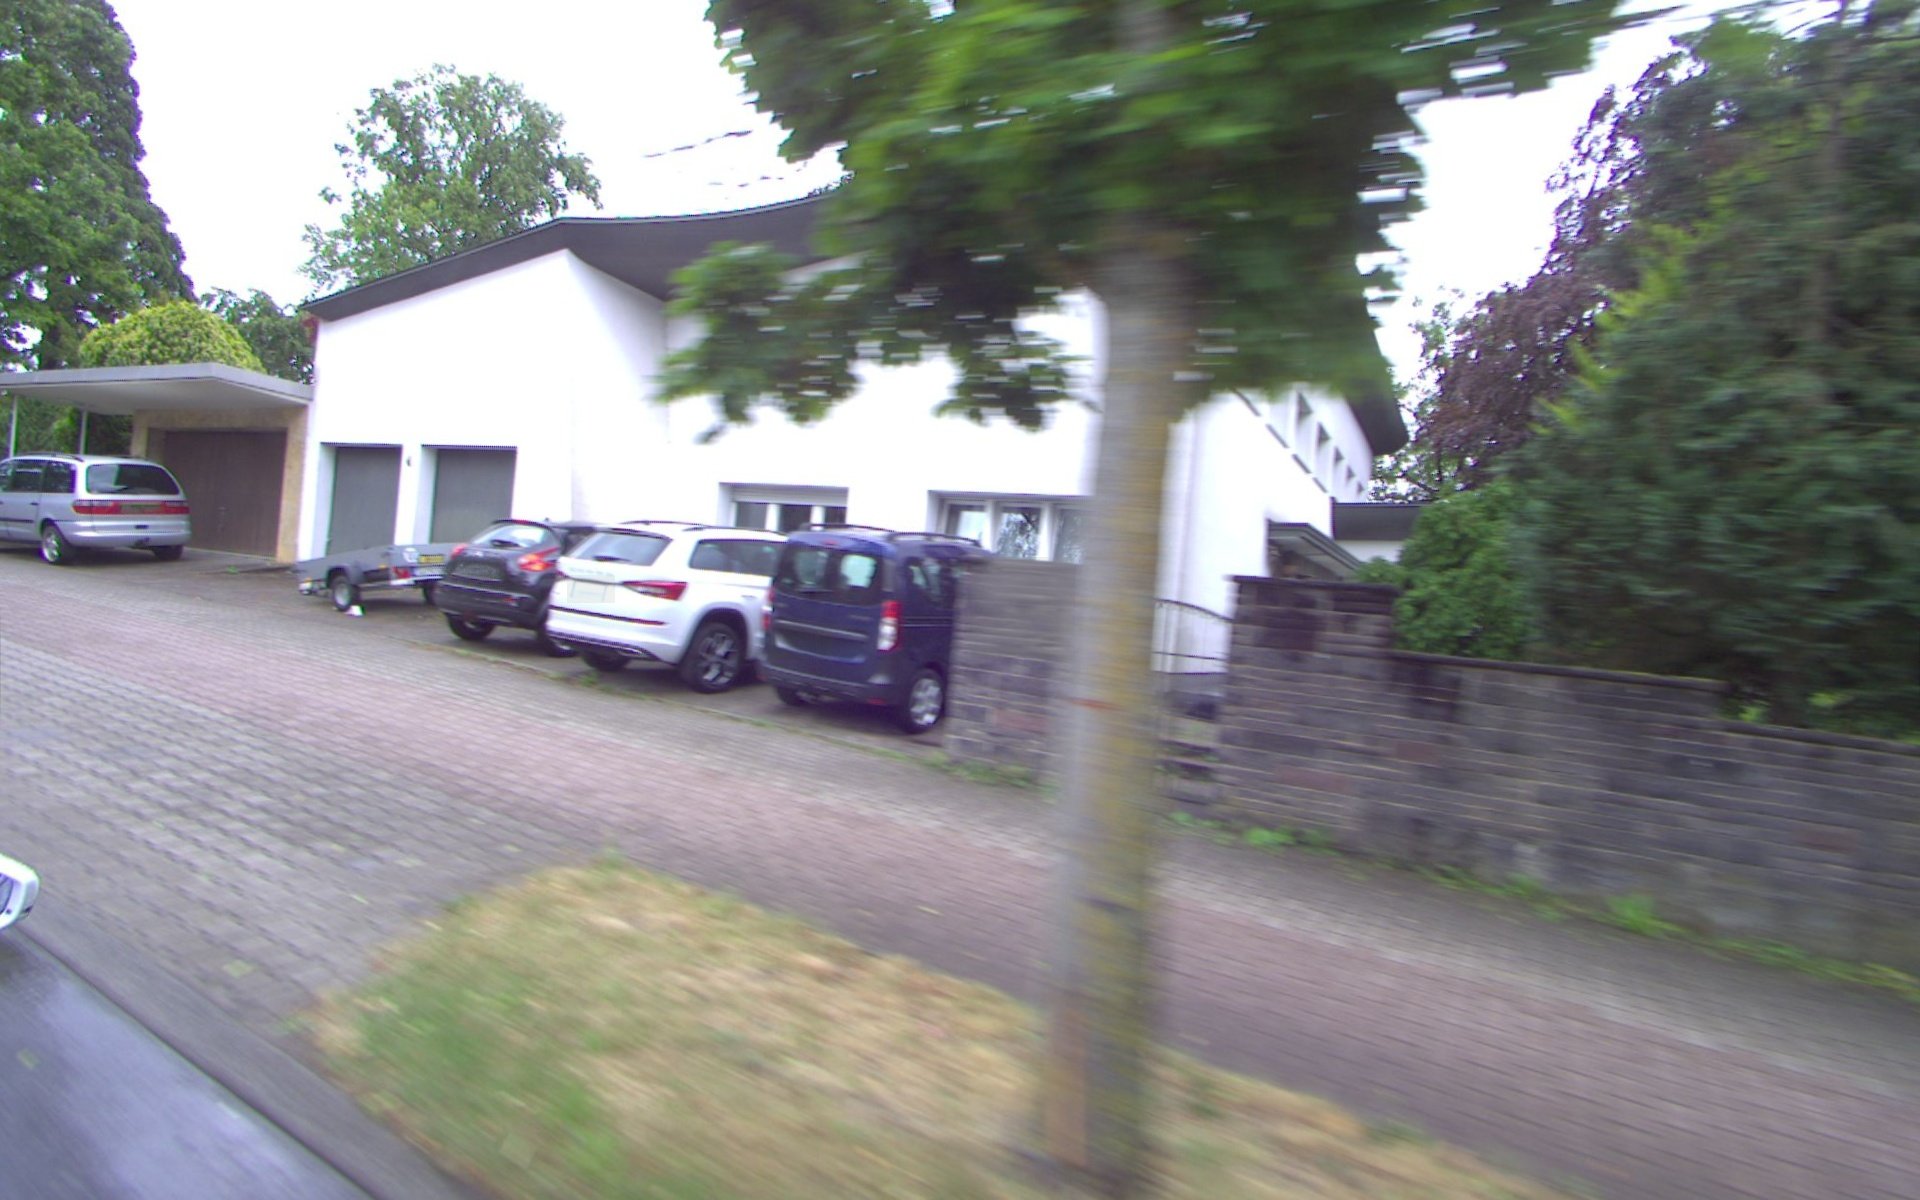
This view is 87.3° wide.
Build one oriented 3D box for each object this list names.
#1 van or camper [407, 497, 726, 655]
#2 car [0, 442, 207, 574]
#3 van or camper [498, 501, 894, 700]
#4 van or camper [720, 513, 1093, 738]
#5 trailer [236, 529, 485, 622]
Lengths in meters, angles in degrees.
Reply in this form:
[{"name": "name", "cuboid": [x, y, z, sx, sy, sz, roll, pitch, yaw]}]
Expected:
[{"name": "van or camper", "cuboid": [-4.770, -0.260, 12.669, 1.737, 1.576, 3.407, 7, 2, 24]}, {"name": "car", "cuboid": [-15.521, -1.664, 17.438, 4.855, 1.779, 1.799, 8, 0, 25]}, {"name": "van or camper", "cuboid": [-2.779, -0.027, 11.463, 2.087, 1.700, 3.988, 7, 3, 29]}, {"name": "van or camper", "cuboid": [-0.362, 0.201, 10.783, 1.915, 1.813, 4.012, 7, 3, 32]}, {"name": "trailer", "cuboid": [-8.363, -0.396, 14.040, 3.216, 0.935, 1.419, 6, 7, 25]}]
